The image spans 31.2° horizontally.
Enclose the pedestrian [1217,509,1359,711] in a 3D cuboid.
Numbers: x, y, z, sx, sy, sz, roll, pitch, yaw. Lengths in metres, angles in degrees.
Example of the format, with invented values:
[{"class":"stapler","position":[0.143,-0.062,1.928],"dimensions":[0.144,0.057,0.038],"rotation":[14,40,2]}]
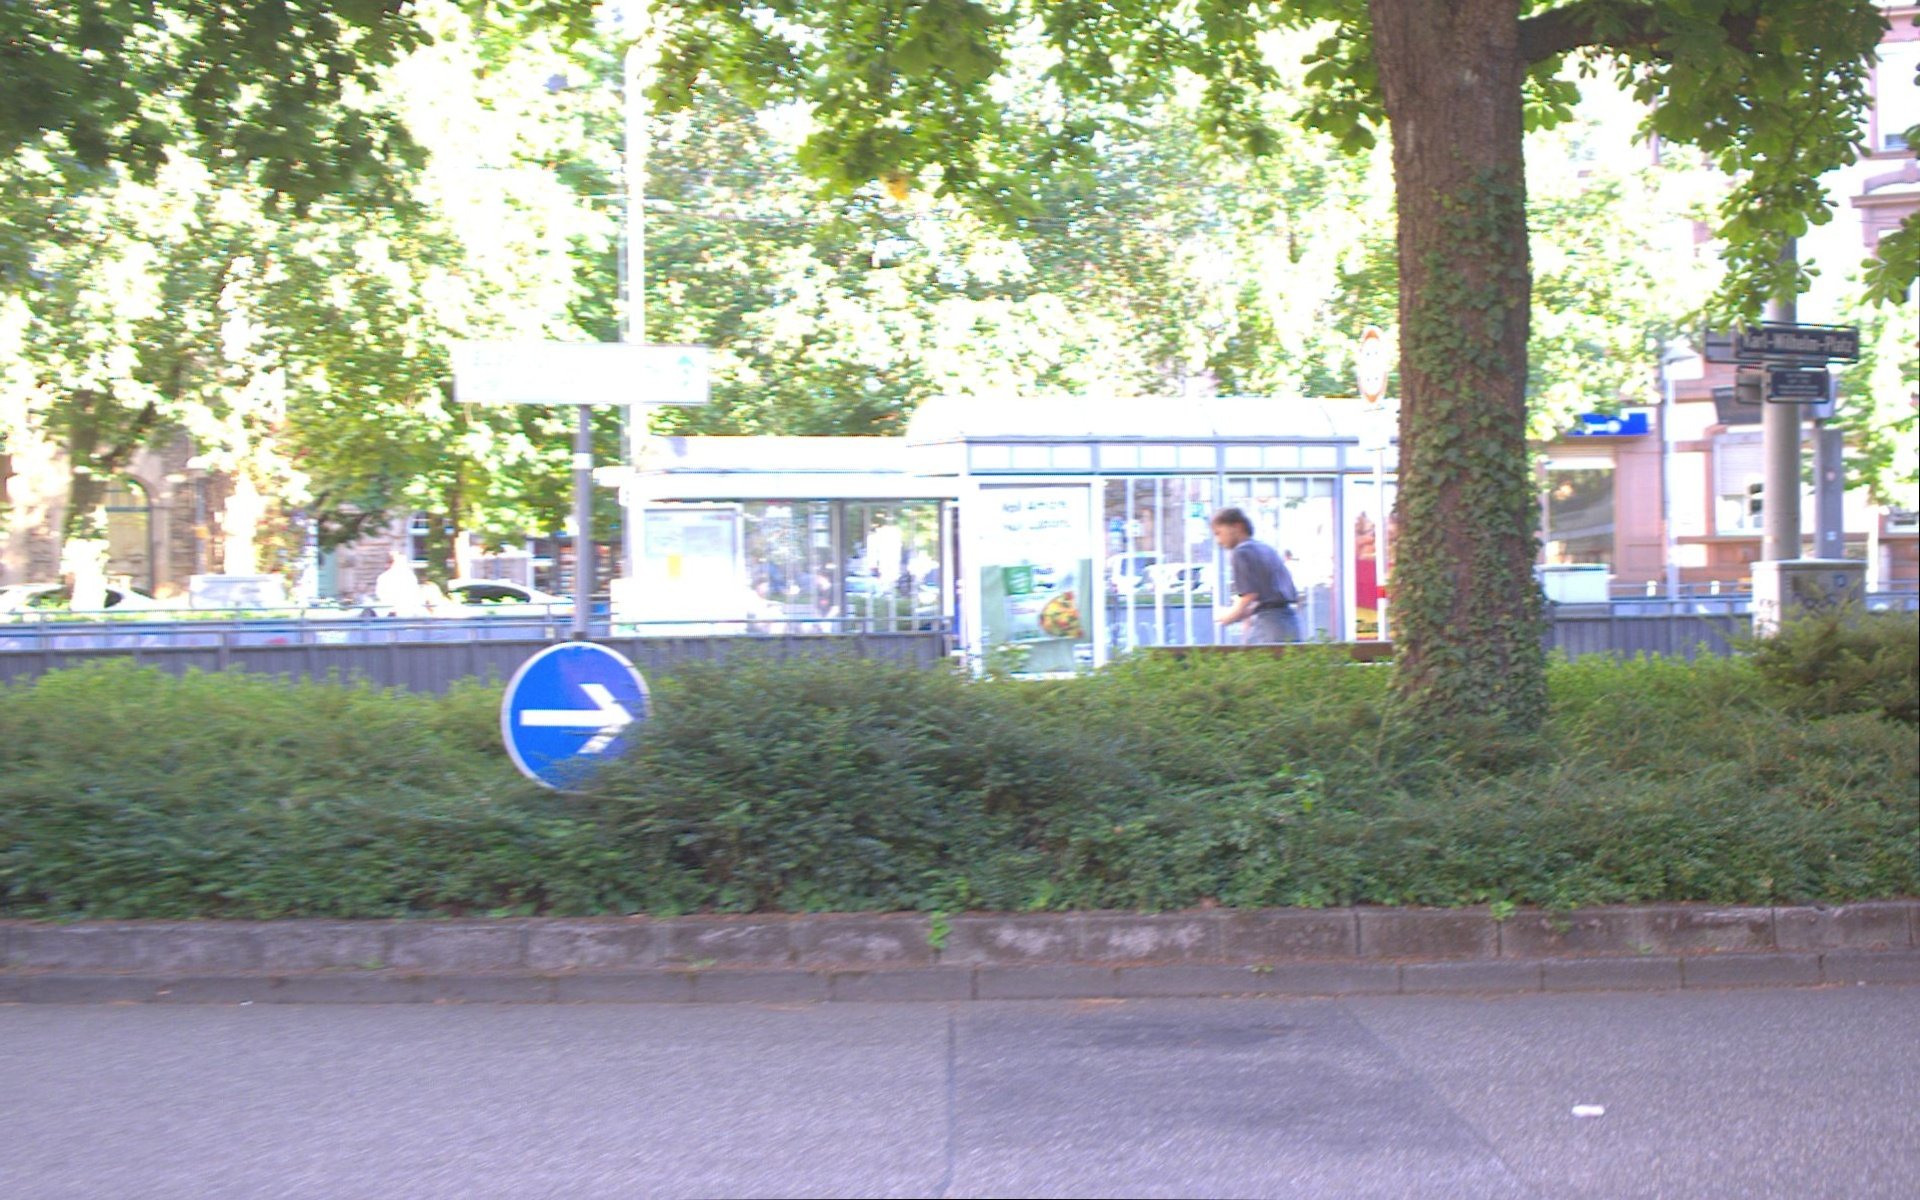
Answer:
[{"class":"pedestrian","position":[3.126,0.085,32.849],"dimensions":[1.016,1.891,0.912],"rotation":[-1,1,-23]}]

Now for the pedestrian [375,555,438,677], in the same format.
[{"class":"pedestrian","position":[-7.770,0.227,48.224],"dimensions":[0.701,1.689,0.671],"rotation":[1,0,-23]}]

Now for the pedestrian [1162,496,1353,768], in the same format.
[{"class":"pedestrian","position":[1.887,0.192,21.788],"dimensions":[0.898,1.678,0.818],"rotation":[-1,1,33]}]

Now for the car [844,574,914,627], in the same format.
[{"class":"car","position":[-2.554,0.001,109.069],"dimensions":[1.760,1.602,3.999],"rotation":[-1,1,5]}]

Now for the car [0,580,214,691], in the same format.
[{"class":"car","position":[-14.333,0.542,55.702],"dimensions":[3.938,1.673,1.953],"rotation":[-2,1,-45]}]

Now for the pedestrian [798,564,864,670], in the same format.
[{"class":"pedestrian","position":[-1.910,0.253,50.875],"dimensions":[0.809,1.538,0.821],"rotation":[1,0,-12]}]

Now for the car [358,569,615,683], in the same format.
[{"class":"car","position":[-8.250,0.423,59.947],"dimensions":[3.986,1.864,2.000],"rotation":[-1,1,-26]}]

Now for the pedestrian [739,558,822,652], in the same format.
[{"class":"pedestrian","position":[-3.174,0.090,60.829],"dimensions":[1.061,1.625,1.003],"rotation":[-1,1,-37]}]
